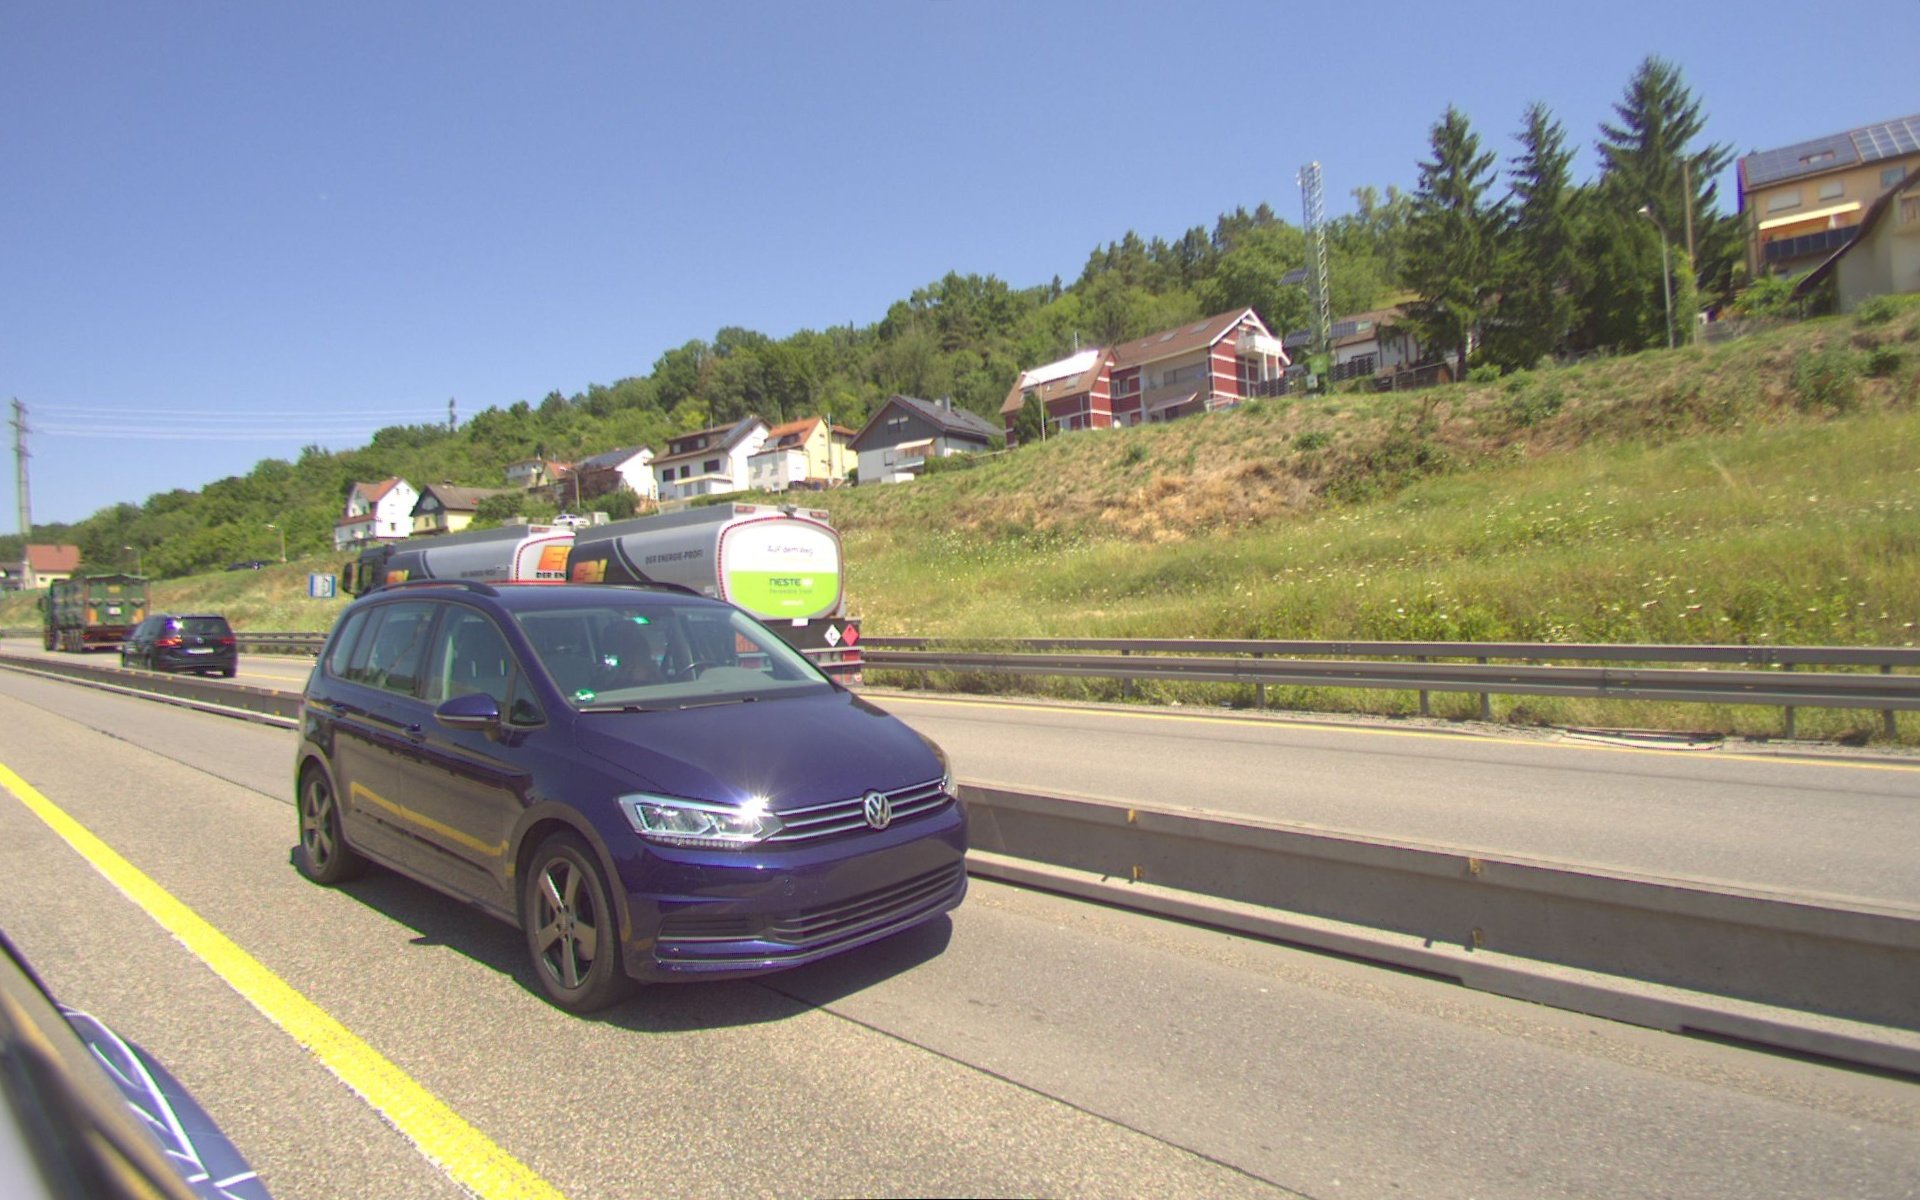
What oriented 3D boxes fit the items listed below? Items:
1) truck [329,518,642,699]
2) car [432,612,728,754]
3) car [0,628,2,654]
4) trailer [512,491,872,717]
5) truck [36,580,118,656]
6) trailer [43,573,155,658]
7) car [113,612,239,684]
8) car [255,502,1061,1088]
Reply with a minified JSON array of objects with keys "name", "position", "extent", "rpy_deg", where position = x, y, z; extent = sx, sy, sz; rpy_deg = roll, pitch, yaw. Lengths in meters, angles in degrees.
[{"name":"truck","position":[-10.465,0.223,21.682],"extent":[8.955,3.166,2.698],"rpy_deg":[-2,-1,41]},{"name":"car","position":[-4.627,0.884,12.070],"extent":[3.902,1.405,1.648],"rpy_deg":[-2,-1,41]},{"name":"car","position":[-58.048,2.437,59.714],"extent":[4.437,1.481,1.755],"rpy_deg":[-2,-1,41]},{"name":"trailer","position":[-4.599,0.102,16.599],"extent":[6.367,3.023,2.585],"rpy_deg":[-2,-1,41]},{"name":"truck","position":[-48.524,0.987,55.590],"extent":[4.176,3.968,2.864],"rpy_deg":[-2,-1,41]},{"name":"trailer","position":[-44.315,0.834,51.929],"extent":[10.521,3.968,2.882],"rpy_deg":[-2,-1,41]},{"name":"car","position":[-20.031,1.187,25.793],"extent":[4.497,1.647,1.700],"rpy_deg":[-2,0,41]},{"name":"car","position":[-1.907,0.638,5.206],"extent":[4.650,1.731,1.757],"rpy_deg":[-2,-1,41]}]
